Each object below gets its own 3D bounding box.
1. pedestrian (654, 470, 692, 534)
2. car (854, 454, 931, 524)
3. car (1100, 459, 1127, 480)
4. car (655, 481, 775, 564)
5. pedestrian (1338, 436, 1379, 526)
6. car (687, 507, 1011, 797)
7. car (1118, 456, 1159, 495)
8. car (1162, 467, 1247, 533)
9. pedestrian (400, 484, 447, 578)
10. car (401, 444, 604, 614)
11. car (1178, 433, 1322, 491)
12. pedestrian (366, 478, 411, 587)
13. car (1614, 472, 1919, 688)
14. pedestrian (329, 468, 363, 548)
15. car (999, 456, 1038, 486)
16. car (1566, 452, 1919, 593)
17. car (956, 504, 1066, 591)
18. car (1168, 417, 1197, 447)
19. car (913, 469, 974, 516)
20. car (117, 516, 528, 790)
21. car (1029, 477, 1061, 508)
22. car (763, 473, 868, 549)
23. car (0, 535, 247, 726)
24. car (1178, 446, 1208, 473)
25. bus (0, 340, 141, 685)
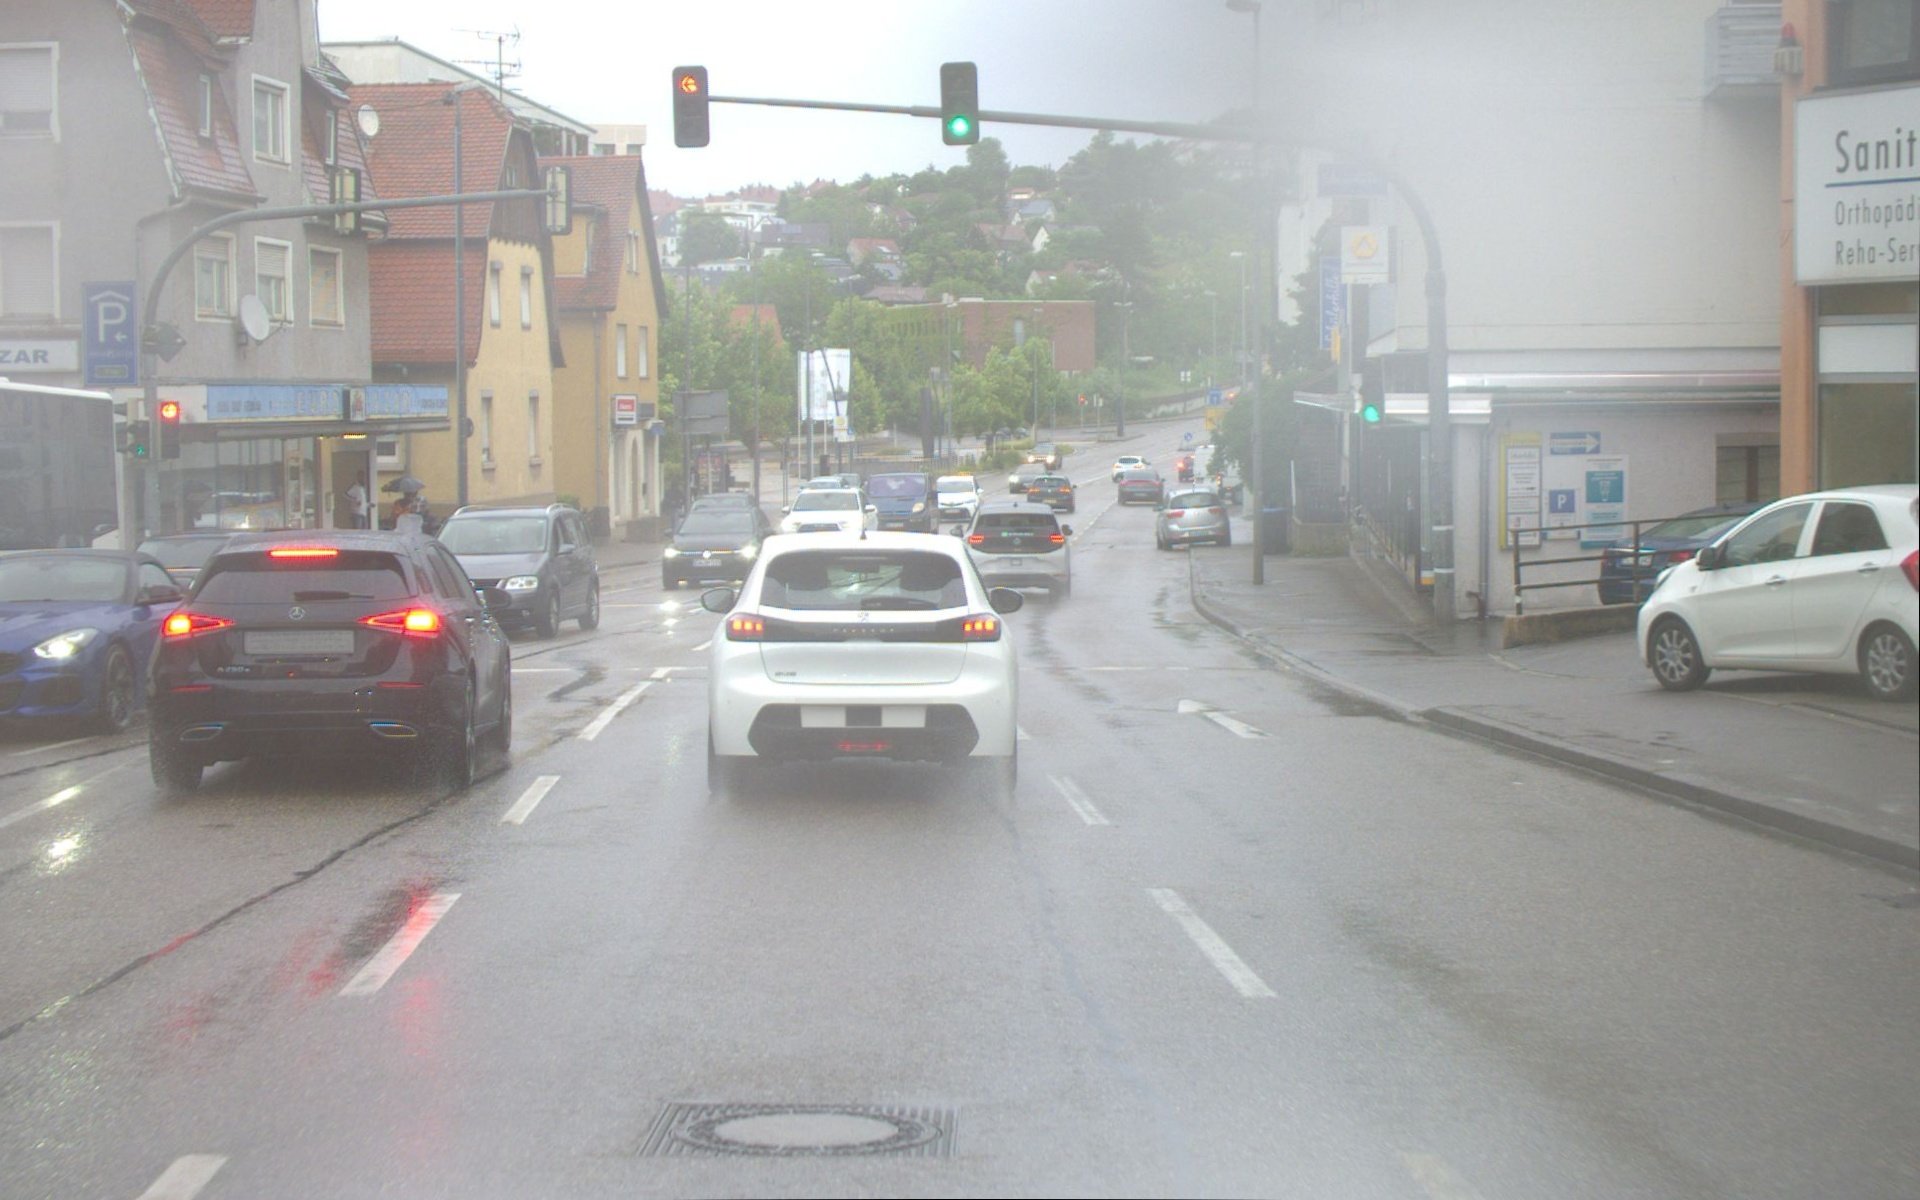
[{"bbox_3d":[-8.031,-2.737,96.202,0.801,1.782,0.881,-1,1,12],"label":"pedestrian"},{"bbox_3d":[-1.917,-3.179,98.901,1.965,1.931,5.180,-1,1,1],"label":"car"},{"bbox_3d":[8.601,-7.288,192.511,1.385,1.122,2.610,-1,1,4],"label":"car"},{"bbox_3d":[-4.450,-1.422,63.023,1.758,1.429,4.381,-1,1,1],"label":"car"},{"bbox_3d":[8.005,-2.402,69.068,0.729,1.774,0.952,0,3,11],"label":"pedestrian"},{"bbox_3d":[-0.566,0.231,20.071,1.691,1.514,3.933,-1,1,1],"label":"car"},{"bbox_3d":[7.600,-5.320,146.715,1.734,1.383,3.353,1,6,3],"label":"car"},{"bbox_3d":[6.386,-2.602,90.264,2.011,1.616,4.361,0,0,1],"label":"car"},{"bbox_3d":[-8.059,-1.040,51.653,0.579,1.389,0.561,-1,1,1],"label":"pedestrian"},{"bbox_3d":[-5.689,-0.904,43.253,1.634,2.007,4.284,-1,1,5],"label":"car"},{"bbox_3d":[12.258,-5.815,145.002,6.608,2.373,2.297,-2,2,-44],"label":"car"},{"bbox_3d":[-10.178,-1.208,61.248,0.661,1.914,0.947,1,1,-4],"label":"pedestrian"},{"bbox_3d":[6.461,-0.182,25.019,1.611,1.457,3.425,-2,2,-25],"label":"car"},{"bbox_3d":[-11.903,-1.785,66.639,0.543,1.552,0.446,-1,1,4],"label":"pedestrian"},{"bbox_3d":[2.961,-6.475,172.819,1.768,1.409,4.526,-1,1,3],"label":"car"},{"bbox_3d":[9.120,-0.906,38.682,4.385,1.406,1.737,-3,3,-29],"label":"car"},{"bbox_3d":[0.830,-0.884,56.493,1.741,1.291,3.334,-1,2,1],"label":"car"},{"bbox_3d":[15.777,-11.915,243.767,1.994,2.007,4.000,-1,1,4],"label":"car"},{"bbox_3d":[-0.561,-3.772,121.145,1.878,1.603,4.718,-1,1,3],"label":"car"},{"bbox_3d":[-3.696,0.234,20.629,1.715,1.445,4.199,-1,1,-1],"label":"car"},{"bbox_3d":[3.266,-4.102,131.823,1.213,1.152,2.270,-1,1,1],"label":"car"},{"bbox_3d":[-3.356,-2.086,80.686,2.098,1.706,4.849,-1,1,1],"label":"car"},{"bbox_3d":[-6.710,0.177,25.238,1.896,1.252,4.194,-1,1,2],"label":"car"},{"bbox_3d":[13.219,-7.986,195.371,1.648,1.480,3.366,-1,1,3],"label":"car"},{"bbox_3d":[-10.145,-0.714,29.041,2.892,3.088,11.999,-1,1,3],"label":"bus"}]
